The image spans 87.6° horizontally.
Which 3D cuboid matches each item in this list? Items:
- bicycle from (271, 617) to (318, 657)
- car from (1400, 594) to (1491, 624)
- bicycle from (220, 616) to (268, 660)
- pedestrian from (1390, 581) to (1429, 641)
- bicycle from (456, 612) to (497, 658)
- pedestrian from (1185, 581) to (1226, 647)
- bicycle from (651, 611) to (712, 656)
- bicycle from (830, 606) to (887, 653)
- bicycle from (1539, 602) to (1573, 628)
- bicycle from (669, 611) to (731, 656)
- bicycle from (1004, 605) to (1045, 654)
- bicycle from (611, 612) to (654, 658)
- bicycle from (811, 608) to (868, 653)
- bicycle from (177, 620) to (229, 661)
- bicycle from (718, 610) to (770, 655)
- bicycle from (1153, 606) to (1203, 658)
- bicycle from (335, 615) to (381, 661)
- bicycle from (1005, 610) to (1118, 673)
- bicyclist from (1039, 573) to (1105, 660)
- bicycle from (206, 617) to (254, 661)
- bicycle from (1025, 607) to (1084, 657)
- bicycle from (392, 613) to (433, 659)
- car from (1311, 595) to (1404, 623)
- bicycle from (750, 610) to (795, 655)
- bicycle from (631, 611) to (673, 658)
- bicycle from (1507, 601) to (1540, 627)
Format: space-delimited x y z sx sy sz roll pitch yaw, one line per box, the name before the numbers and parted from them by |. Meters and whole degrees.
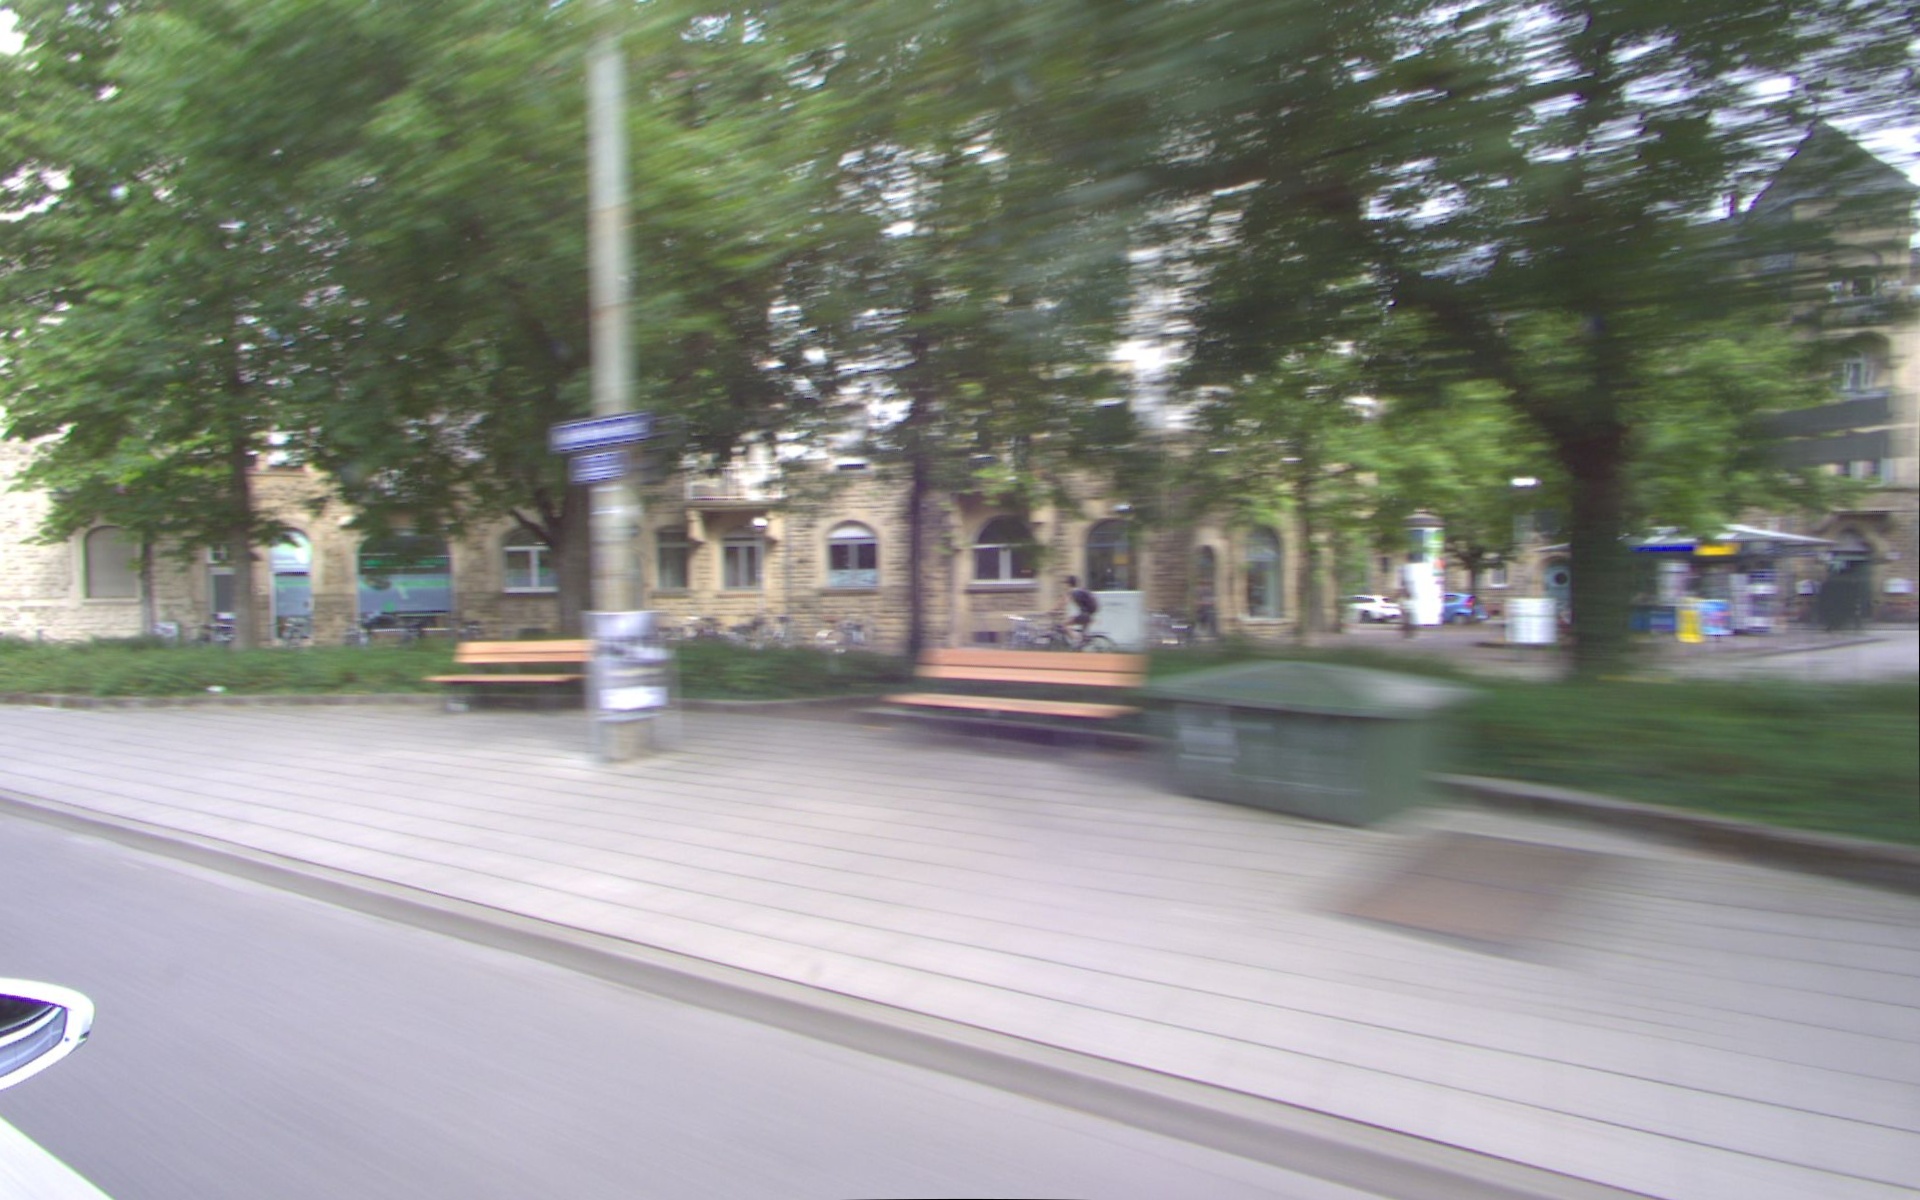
bicycle | -17.341 0.952 26.114 0.523 0.985 1.646 -1 1 -16
car | 23.763 0.411 49.101 1.751 1.414 3.677 -1 1 -37
bicycle | -18.469 0.968 25.856 0.441 1.069 1.646 -1 1 -16
pedestrian | 12.564 0.307 27.988 0.825 1.645 0.727 -1 1 -39
bicycle | -12.930 0.920 26.806 0.655 1.143 1.890 -1 1 -16
pedestrian | 6.388 0.354 26.081 0.819 1.698 0.732 -1 1 -9
bicycle | -7.563 0.880 27.263 0.554 1.143 1.888 0 1 23
bicycle | -2.633 0.753 26.276 0.524 1.143 1.886 0 1 28
bicycle | 27.052 0.652 45.414 1.874 1.132 0.604 -1 2 -35
bicycle | -6.999 0.874 27.078 0.588 1.143 1.888 0 1 23
bicycle | 1.632 0.715 25.074 0.523 1.143 1.889 0 1 20
bicycle | -8.911 0.928 27.316 0.522 1.143 1.893 -1 1 1
bicycle | -3.165 0.786 26.512 0.524 1.143 1.886 0 1 28
bicycle | -19.678 1.036 26.048 0.593 0.985 1.667 -1 1 -20
bicycle | -5.799 0.865 27.033 0.572 1.143 1.891 0 1 15
bicycle | 5.086 0.717 23.267 0.525 1.143 1.883 0 1 32
bicycle | -15.741 0.973 26.220 0.523 1.143 1.890 -1 1 -16
bicycle | 1.951 0.781 19.296 2.067 1.167 0.653 0 1 22
bicyclist | 2.151 0.310 19.206 1.120 1.627 0.644 0 2 21
bicycle | -18.869 0.981 25.923 0.441 1.069 1.646 -1 1 -16
bicycle | 2.329 0.765 24.506 0.526 1.143 1.880 0 1 37
bicycle | -14.494 0.925 26.550 0.523 1.143 1.890 -1 1 -16
car | 21.016 0.469 53.104 1.751 1.414 4.322 -1 1 -37
bicycle | -5.007 0.859 26.895 0.583 1.143 1.892 0 1 9
bicycle | -8.371 0.925 27.284 0.522 1.143 1.892 -1 2 1
bicycle | 26.072 0.633 46.323 1.874 1.132 0.604 -1 2 -35
